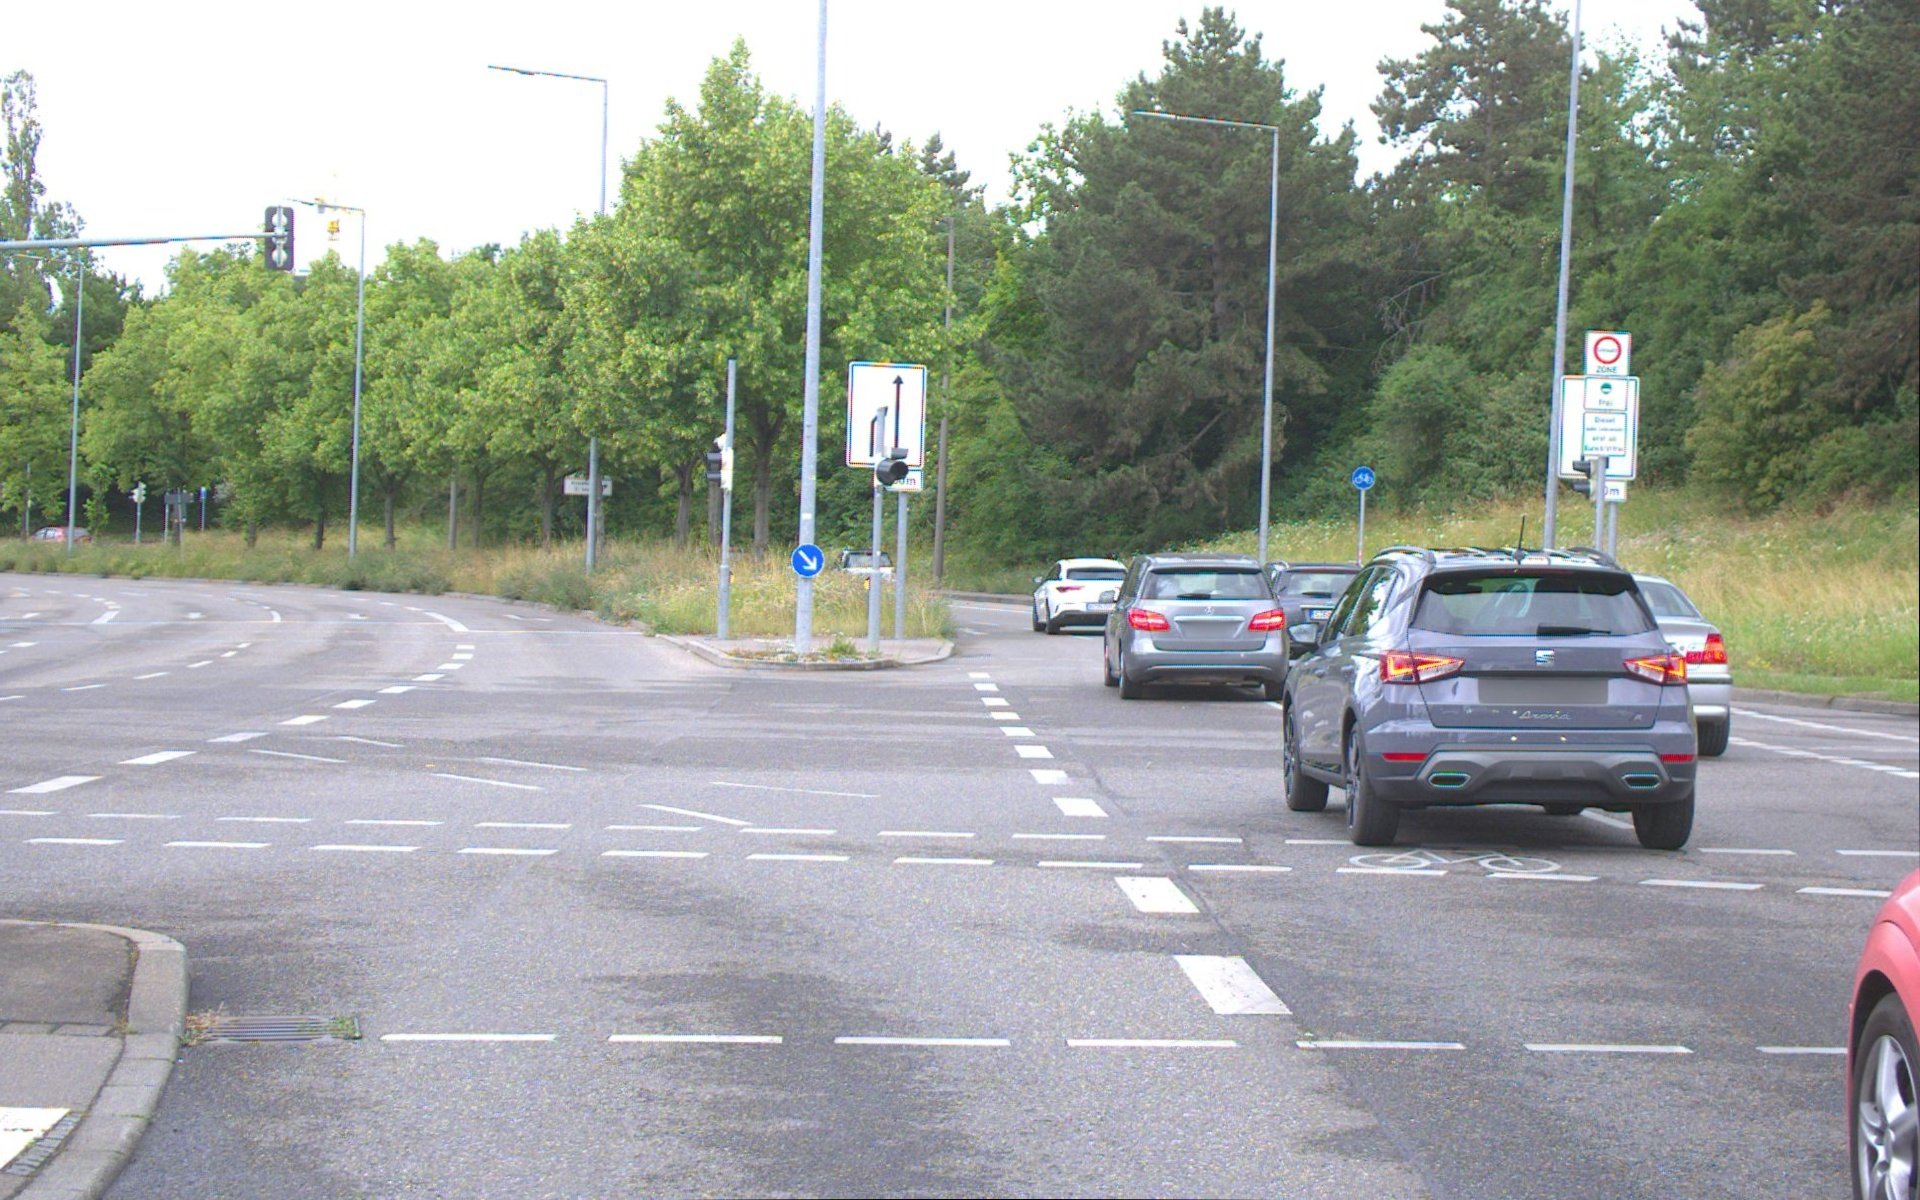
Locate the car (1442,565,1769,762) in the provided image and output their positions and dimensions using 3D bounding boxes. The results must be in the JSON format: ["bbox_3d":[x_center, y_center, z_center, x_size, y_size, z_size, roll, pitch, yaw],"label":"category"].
[{"bbox_3d":[5.077,0.446,27.576,1.746,1.378,4.291,1,1,-1],"label":"car"}]

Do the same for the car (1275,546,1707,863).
[{"bbox_3d":[2.735,0.476,18.488,1.624,1.488,3.838,1,1,-1],"label":"car"}]

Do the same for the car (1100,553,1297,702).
[{"bbox_3d":[2.521,0.255,37.227,1.746,1.503,4.048,1,1,-1],"label":"car"}]

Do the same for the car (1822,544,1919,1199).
[{"bbox_3d":[2.729,0.689,5.438,1.821,1.500,3.495,1,1,0],"label":"car"}]

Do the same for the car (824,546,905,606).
[{"bbox_3d":[-2.510,-0.627,89.783,1.591,1.511,2.767,1,0,-12],"label":"car"}]

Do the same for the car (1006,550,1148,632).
[{"bbox_3d":[2.213,-0.194,66.283,1.844,1.501,4.532,1,0,-9],"label":"car"}]

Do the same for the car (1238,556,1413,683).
[{"bbox_3d":[4.732,0.217,45.010,1.746,1.480,4.356,1,2,-1],"label":"car"}]
